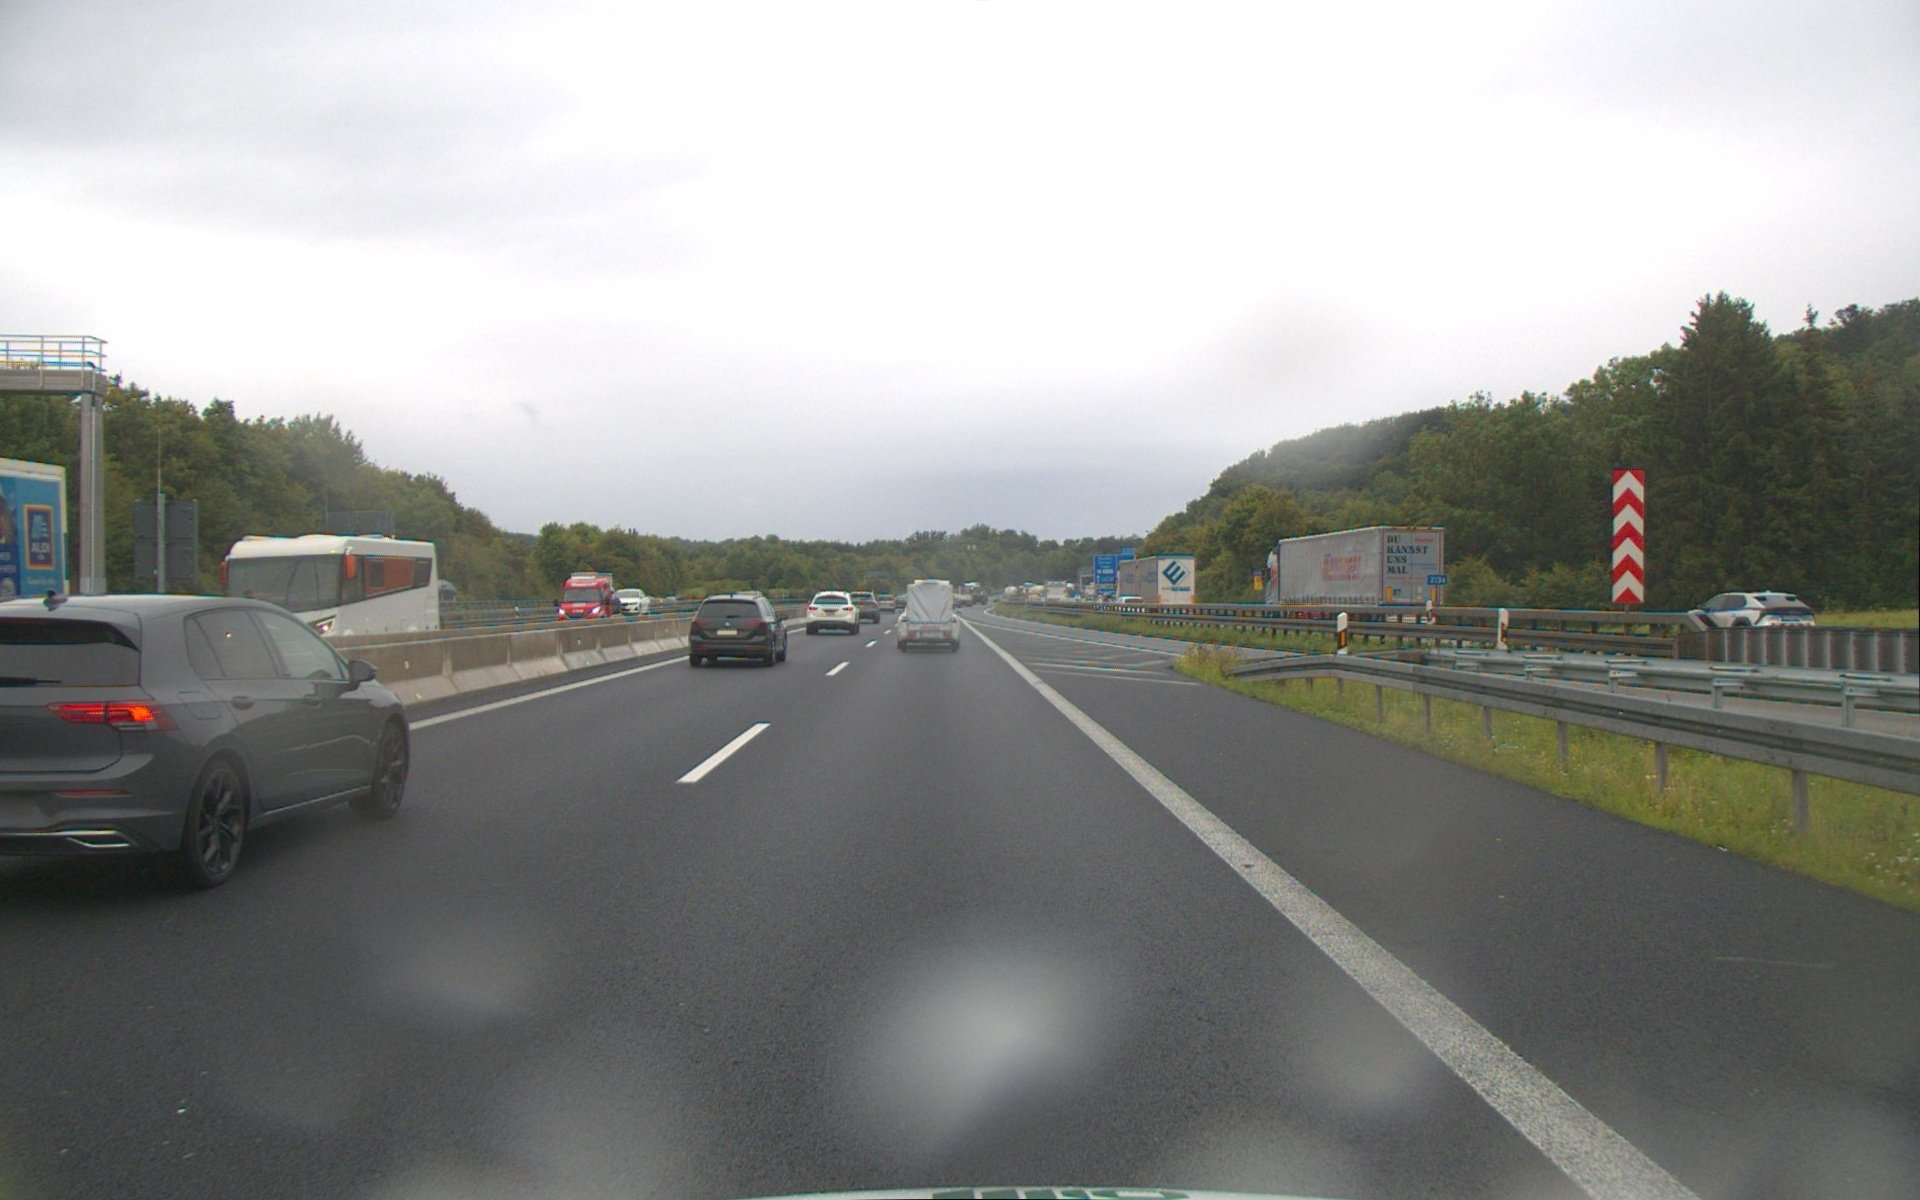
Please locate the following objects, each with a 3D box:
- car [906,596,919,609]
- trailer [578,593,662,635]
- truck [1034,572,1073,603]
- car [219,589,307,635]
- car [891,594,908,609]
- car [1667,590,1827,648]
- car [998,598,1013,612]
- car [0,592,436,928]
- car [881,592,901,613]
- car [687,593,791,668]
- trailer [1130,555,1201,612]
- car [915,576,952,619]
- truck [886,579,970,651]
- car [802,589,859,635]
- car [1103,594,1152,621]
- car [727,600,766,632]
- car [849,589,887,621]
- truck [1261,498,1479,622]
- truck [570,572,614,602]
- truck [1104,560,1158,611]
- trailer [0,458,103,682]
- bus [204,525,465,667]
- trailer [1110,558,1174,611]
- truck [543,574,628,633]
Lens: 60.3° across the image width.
[{"bbox_3d":[-6.226,0.350,217.588,1.612,1.601,3.999,1,0,-1],"label":"car"},{"bbox_3d":[-17.602,0.671,86.307,2.485,2.049,10.242,0,0,-1],"label":"trailer"},{"bbox_3d":[11.771,-1.550,208.916,3.750,3.723,8.264,1,0,-5],"label":"truck"},{"bbox_3d":[-28.398,0.477,67.542,1.797,1.820,4.184,0,0,1],"label":"car"},{"bbox_3d":[-6.661,0.155,183.199,1.782,1.691,4.016,0,0,-1],"label":"car"},{"bbox_3d":[21.799,0.487,46.083,1.783,1.530,5.027,0,0,-4],"label":"car"},{"bbox_3d":[5.164,0.577,188.717,1.612,1.601,3.999,1,0,-1],"label":"car"},{"bbox_3d":[-4.548,0.691,9.362,1.793,1.450,4.367,1,0,-1],"label":"car"},{"bbox_3d":[-6.180,0.237,148.395,1.703,1.825,3.999,1,0,-1],"label":"car"},{"bbox_3d":[-4.703,0.608,35.804,1.751,1.484,4.800,1,0,-2],"label":"car"},{"bbox_3d":[13.545,-1.058,109.637,3.018,3.588,8.076,1,0,-5],"label":"trailer"},{"bbox_3d":[-1.786,-0.173,108.630,2.285,2.773,6.536,0,0,-2],"label":"car"},{"bbox_3d":[-0.883,0.419,47.295,2.196,1.871,6.583,1,0,-1],"label":"truck"},{"bbox_3d":[-5.092,0.440,64.596,2.009,1.700,4.534,1,0,-7],"label":"car"},{"bbox_3d":[10.448,0.444,103.451,1.956,1.645,5.071,0,0,-7],"label":"car"},{"bbox_3d":[-14.263,1.036,110.686,1.952,2.049,5.099,0,0,0],"label":"car"},{"bbox_3d":[-5.179,0.289,93.226,1.936,1.733,4.801,1,0,-1],"label":"car"},{"bbox_3d":[16.823,-1.462,70.085,3.746,4.620,16.867,0,0,-5],"label":"truck"},{"bbox_3d":[-36.729,-1.295,165.448,2.684,2.923,8.538,0,0,-1],"label":"truck"},{"bbox_3d":[12.554,-1.069,121.965,2.881,3.588,5.921,1,0,-5],"label":"truck"},{"bbox_3d":[-16.756,-0.511,25.507,2.883,3.577,8.050,1,0,-1],"label":"trailer"},{"bbox_3d":[-13.003,-0.068,35.264,2.489,2.632,8.269,1,0,-1],"label":"bus"},{"bbox_3d":[12.889,-1.062,117.923,2.881,3.588,8.410,1,0,-5],"label":"trailer"},{"bbox_3d":[-17.477,0.148,77.563,2.377,2.639,7.092,0,0,0],"label":"truck"}]
